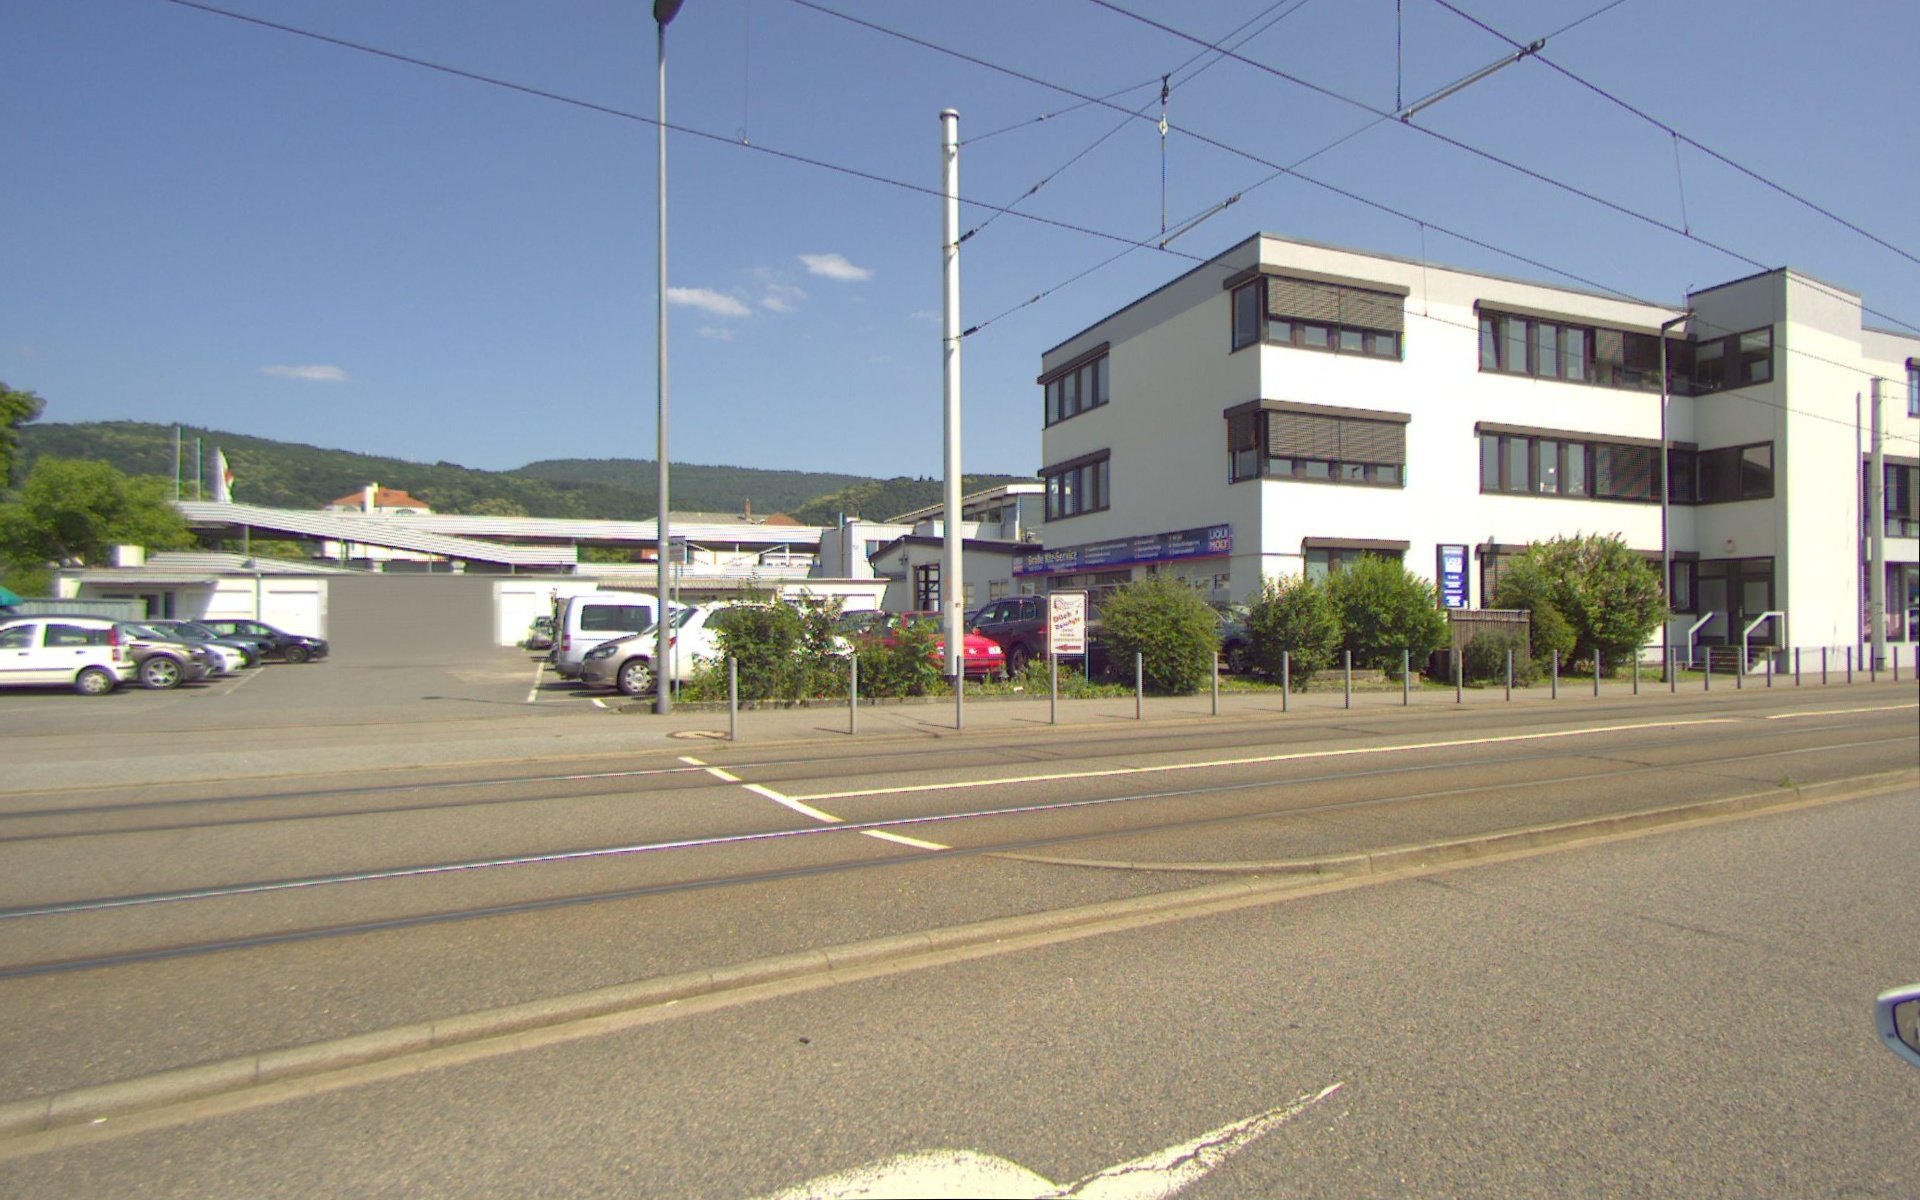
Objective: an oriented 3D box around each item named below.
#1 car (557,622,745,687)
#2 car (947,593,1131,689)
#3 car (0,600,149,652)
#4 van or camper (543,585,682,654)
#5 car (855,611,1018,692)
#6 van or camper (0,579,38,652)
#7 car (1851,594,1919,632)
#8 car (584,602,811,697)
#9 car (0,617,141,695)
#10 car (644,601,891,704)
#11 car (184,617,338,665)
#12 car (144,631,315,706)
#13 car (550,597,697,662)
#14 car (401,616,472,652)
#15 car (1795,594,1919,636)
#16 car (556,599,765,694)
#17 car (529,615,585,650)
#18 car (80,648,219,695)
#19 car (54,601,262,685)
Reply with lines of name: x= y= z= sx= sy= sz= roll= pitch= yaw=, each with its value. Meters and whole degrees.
car: x=-7.037 y=1.207 z=22.880 sx=3.941 sy=1.376 sz=1.838 roll=1 pitch=-1 yaw=-21
car: x=1.492 y=0.795 z=20.454 sx=1.974 sy=1.728 sz=3.973 roll=1 pitch=-1 yaw=-27
car: x=-28.413 y=0.824 z=31.789 sx=3.953 sy=1.576 sz=1.984 roll=1 pitch=-1 yaw=-30
van or camper: x=-12.410 y=0.704 z=35.885 sx=4.540 sy=2.336 sz=1.770 roll=1 pitch=-1 yaw=-26
car: x=-0.554 y=0.928 z=19.271 sx=1.725 sy=1.388 sz=3.812 roll=1 pitch=-1 yaw=-25
van or camper: x=-29.180 y=0.437 z=28.069 sx=4.578 sy=2.034 sz=1.989 roll=1 pitch=-1 yaw=-24
car: x=39.931 y=0.520 z=41.674 sx=1.973 sy=1.539 sz=3.975 roll=-2 pitch=0 yaw=-25
car: x=-4.863 y=0.878 z=18.548 sx=3.877 sy=1.588 sz=1.848 roll=1 pitch=-1 yaw=-22
car: x=-18.834 y=1.106 z=20.315 sx=3.354 sy=1.504 sz=1.503 roll=1 pitch=-1 yaw=-34
car: x=-3.208 y=0.838 z=16.723 sx=3.781 sy=1.562 sz=1.732 roll=1 pitch=-1 yaw=-23
car: x=-23.689 y=1.370 z=34.226 sx=3.943 sy=1.531 sz=1.989 roll=1 pitch=-1 yaw=-23
car: x=-22.908 y=2.094 z=31.692 sx=3.943 sy=2.040 sz=1.989 roll=-2 pitch=0 yaw=-24
car: x=-11.251 y=0.983 z=33.562 sx=4.515 sy=2.040 sz=2.047 roll=1 pitch=-1 yaw=-24
car: x=-21.813 y=1.411 z=42.021 sx=1.968 sy=1.435 sz=3.985 roll=1 pitch=-1 yaw=-18
car: x=36.364 y=0.598 z=40.311 sx=1.973 sy=1.584 sz=3.975 roll=1 pitch=-1 yaw=-25
car: x=-6.181 y=0.925 z=20.741 sx=3.941 sy=1.808 sz=1.990 roll=1 pitch=-1 yaw=-21
car: x=-17.522 y=1.412 z=43.818 sx=1.968 sy=1.435 sz=3.985 roll=1 pitch=-1 yaw=-18
car: x=-18.366 y=1.594 z=22.850 sx=2.291 sy=0.959 sz=1.278 roll=1 pitch=-2 yaw=-32
car: x=-21.604 y=1.102 z=27.284 sx=3.943 sy=2.040 sz=1.989 roll=-2 pitch=0 yaw=-24
